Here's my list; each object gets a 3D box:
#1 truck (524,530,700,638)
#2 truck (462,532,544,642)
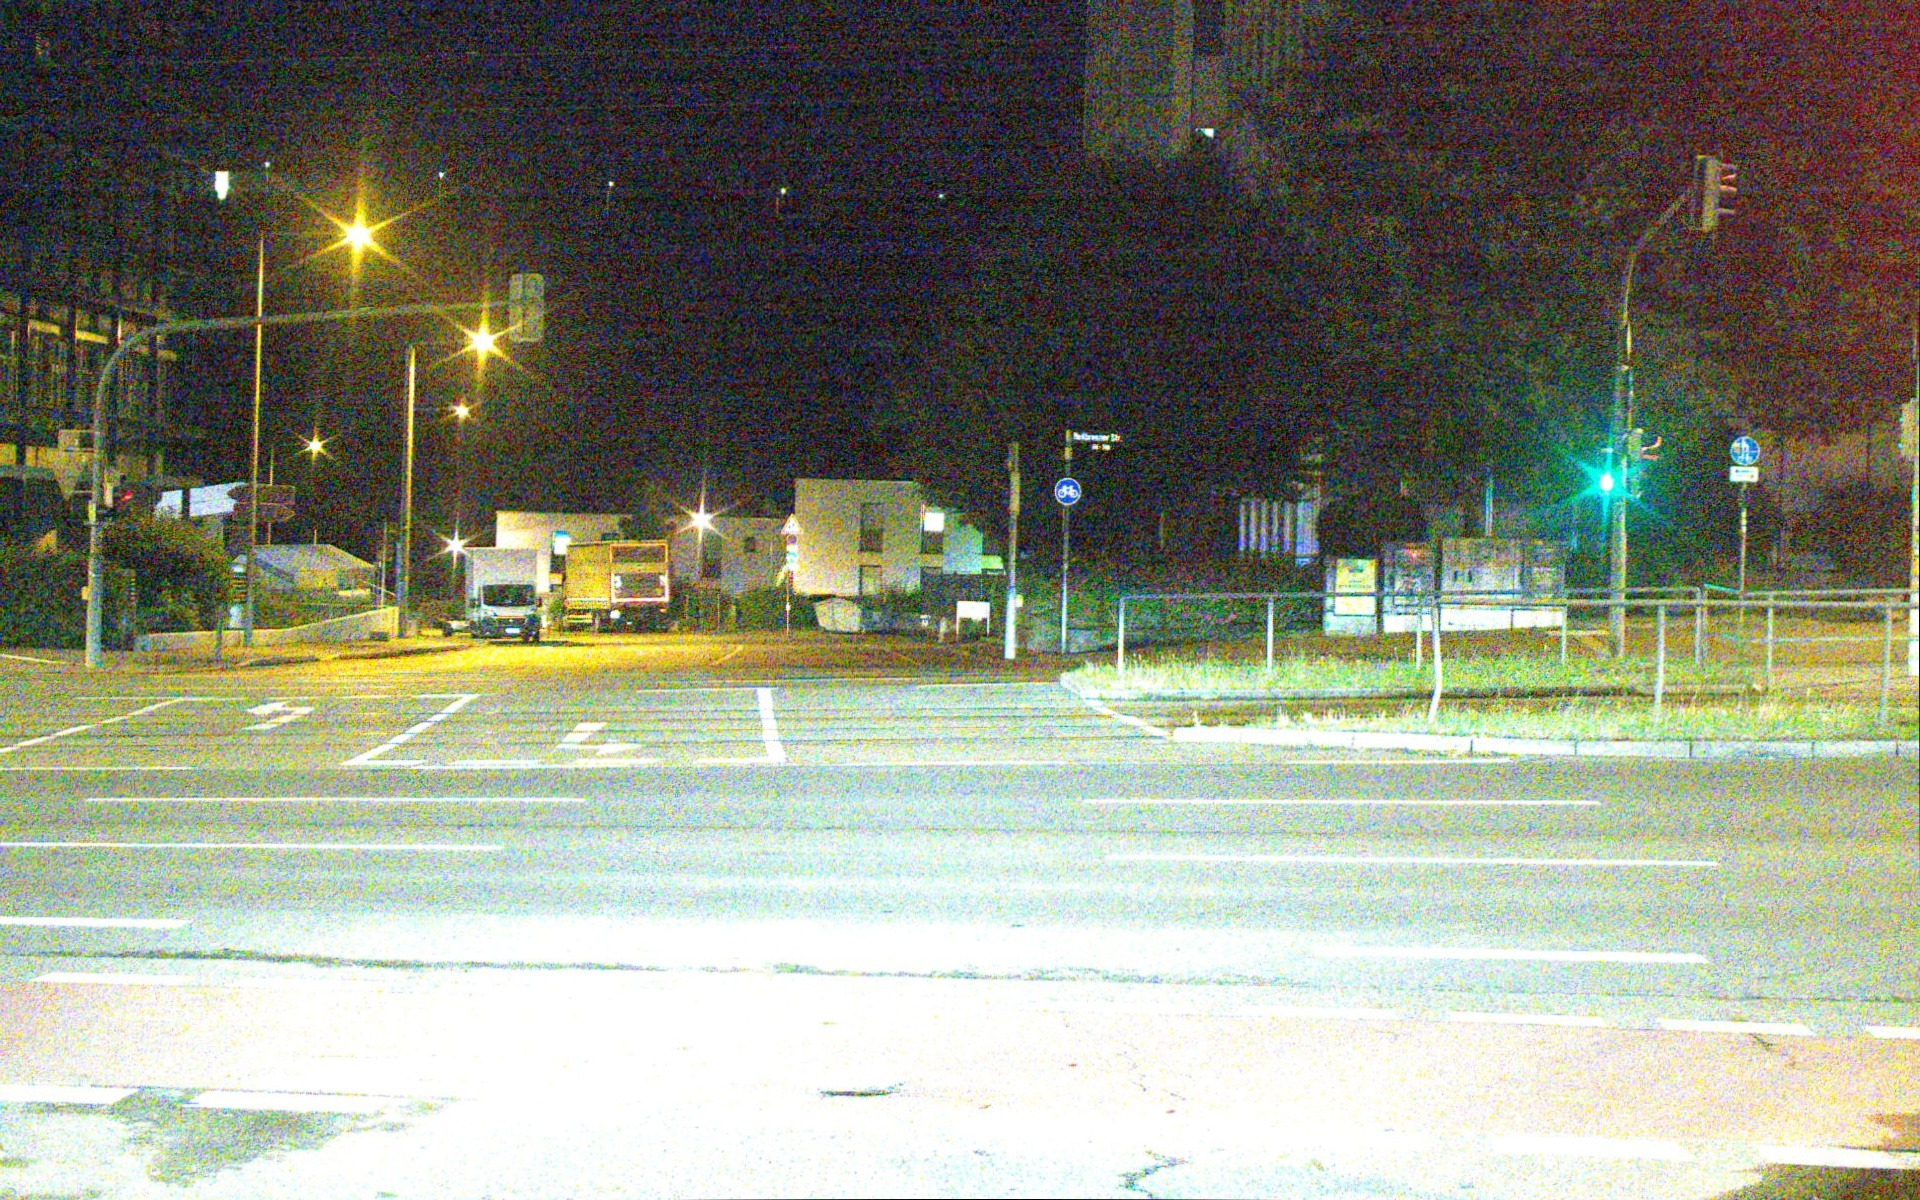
[{"bbox_3d":[-15.449,-0.761,151.236,4.821,4.531,12.669,1,1,-19],"label":"truck"},{"bbox_3d":[-15.900,-0.471,119.373,2.582,3.694,5.739,1,1,-9],"label":"truck"}]
